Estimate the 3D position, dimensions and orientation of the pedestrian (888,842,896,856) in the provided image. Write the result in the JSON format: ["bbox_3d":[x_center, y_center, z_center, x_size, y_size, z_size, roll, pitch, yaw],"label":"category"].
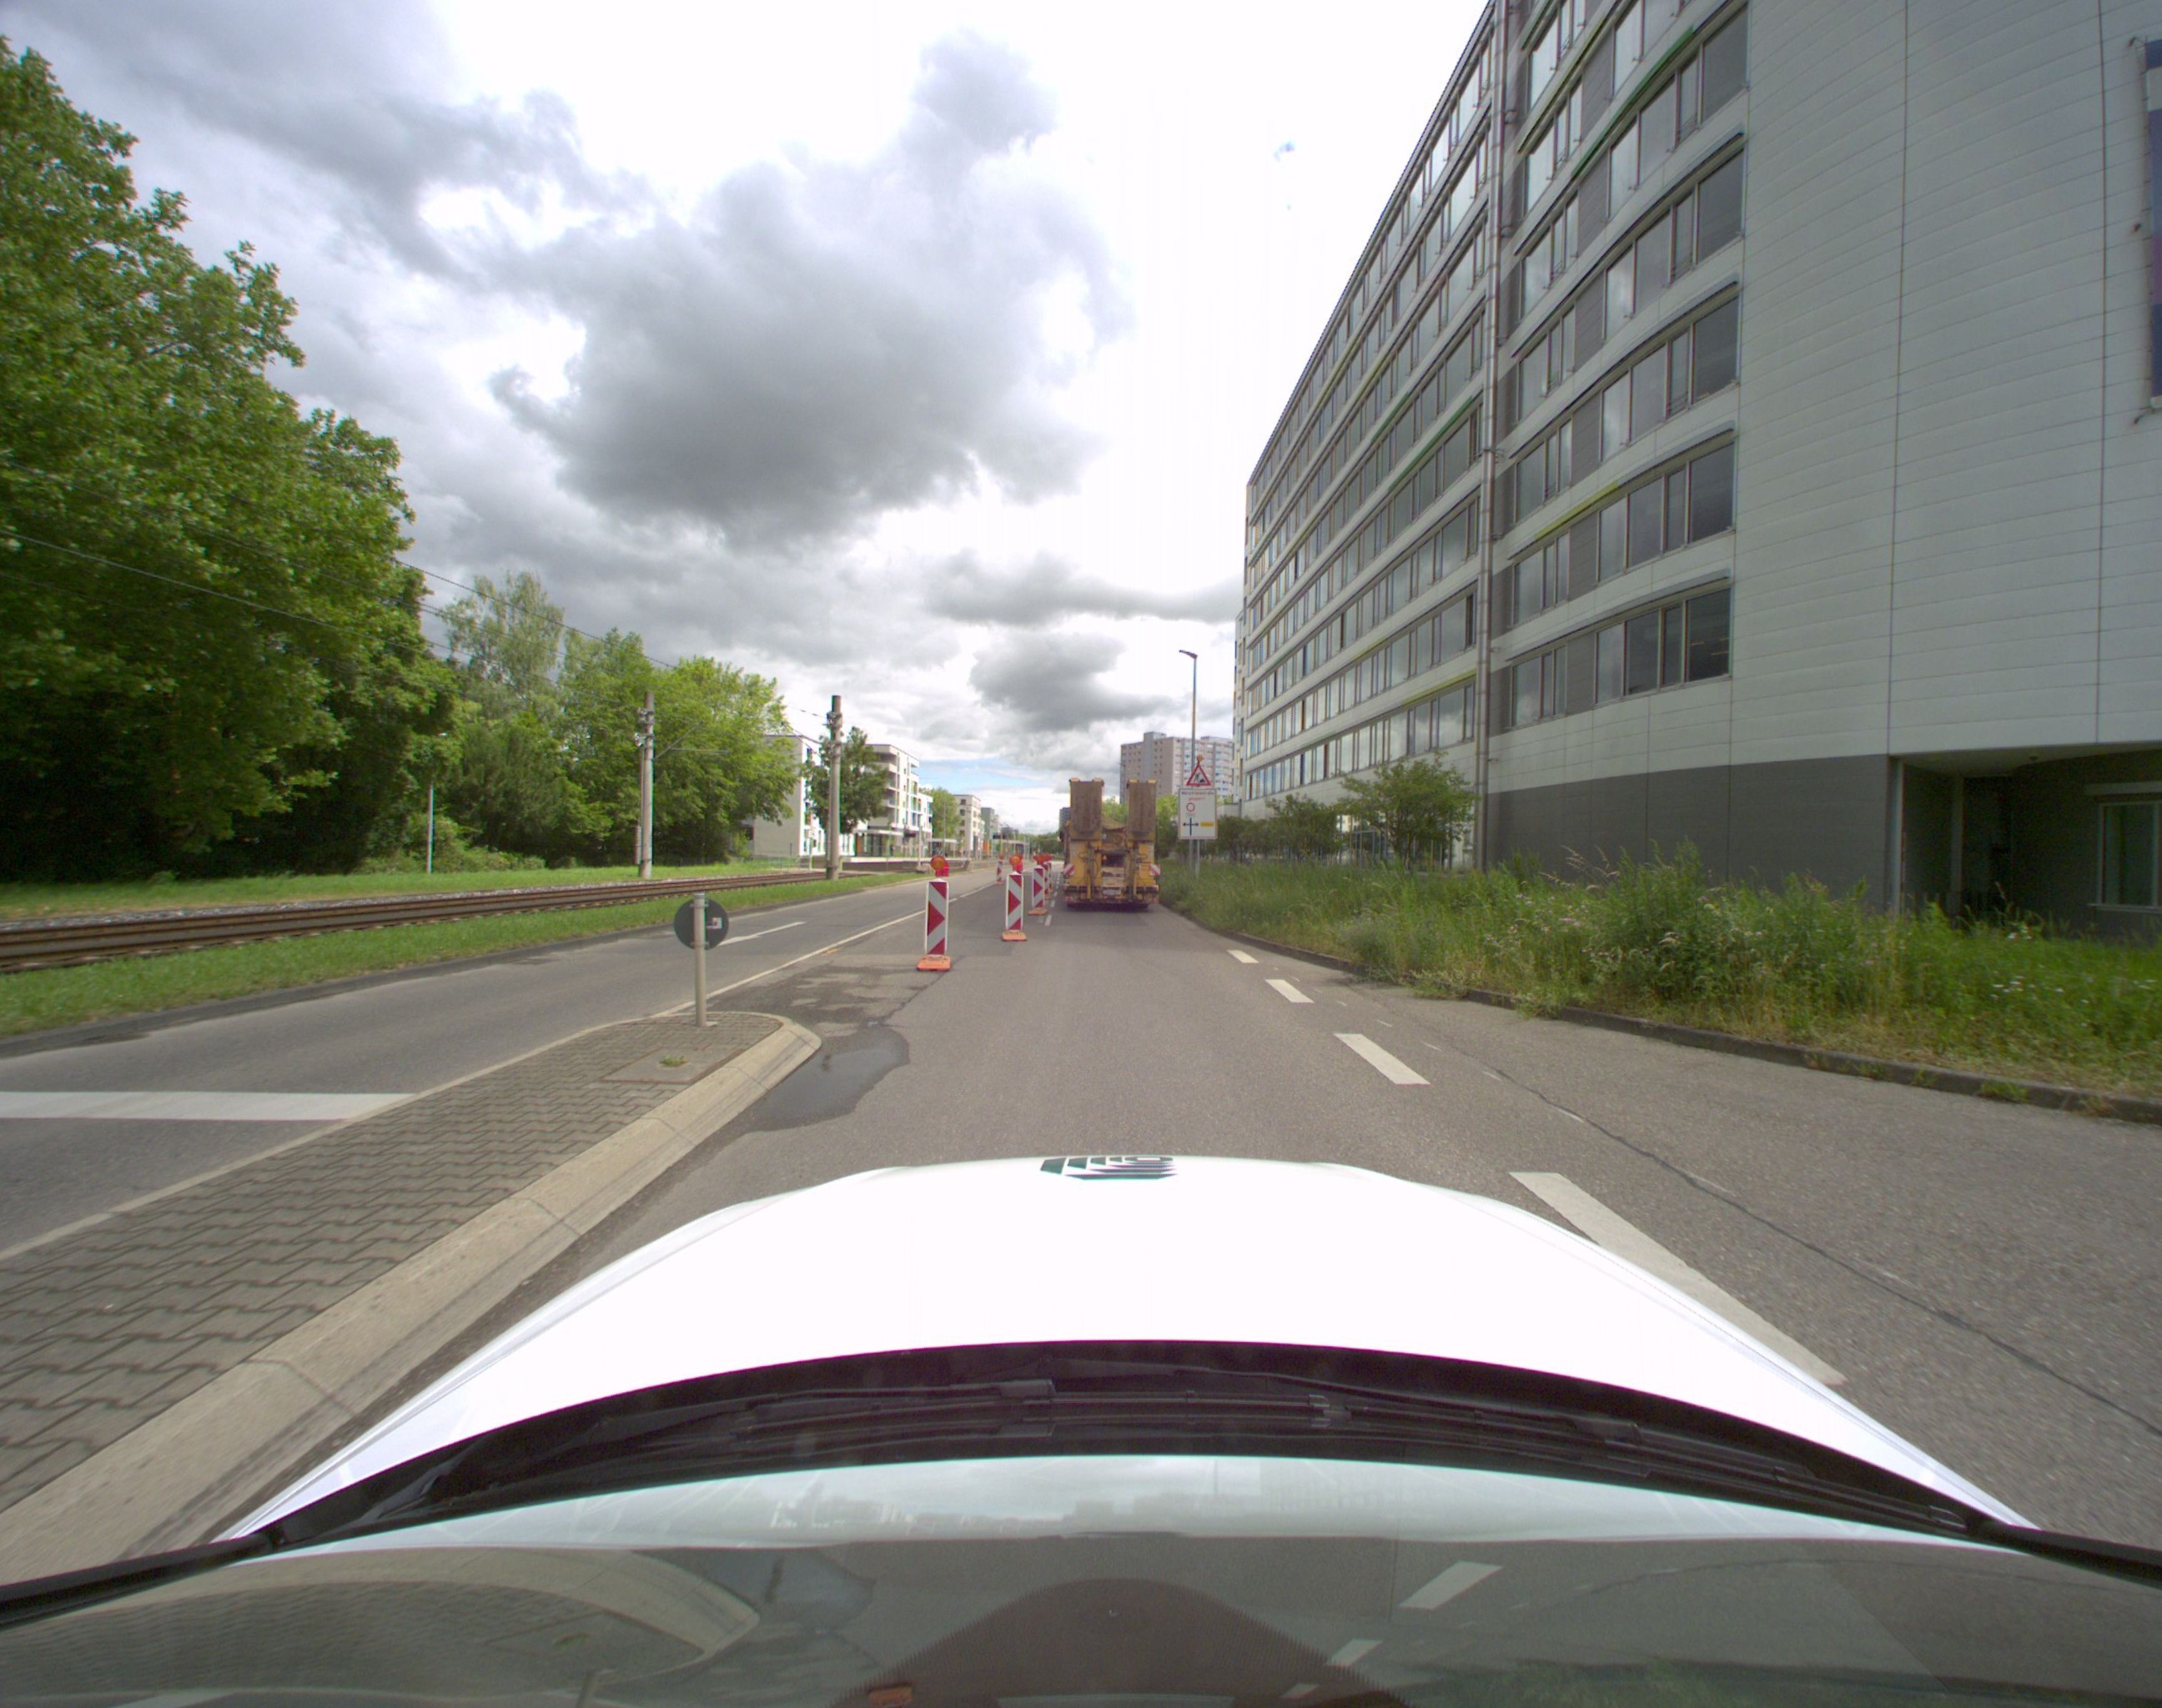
[{"bbox_3d":[-20.682,-0.520,89.229,0.738,1.531,0.547,1,-1,2],"label":"pedestrian"}]

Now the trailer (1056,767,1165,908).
[{"bbox_3d":[0.754,-0.399,26.471,2.720,3.559,11.251,1,0,0],"label":"trailer"}]

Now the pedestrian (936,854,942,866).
[{"bbox_3d":[-20.121,0.845,115.354,0.482,1.596,0.682,1,-1,34],"label":"pedestrian"}]

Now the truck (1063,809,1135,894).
[{"bbox_3d":[0.695,-0.079,36.262,2.745,3.313,8.349,1,0,0],"label":"truck"}]

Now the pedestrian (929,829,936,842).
[{"bbox_3d":[-20.717,-2.609,113.736,0.669,1.725,0.492,2,-3,41],"label":"pedestrian"}]
